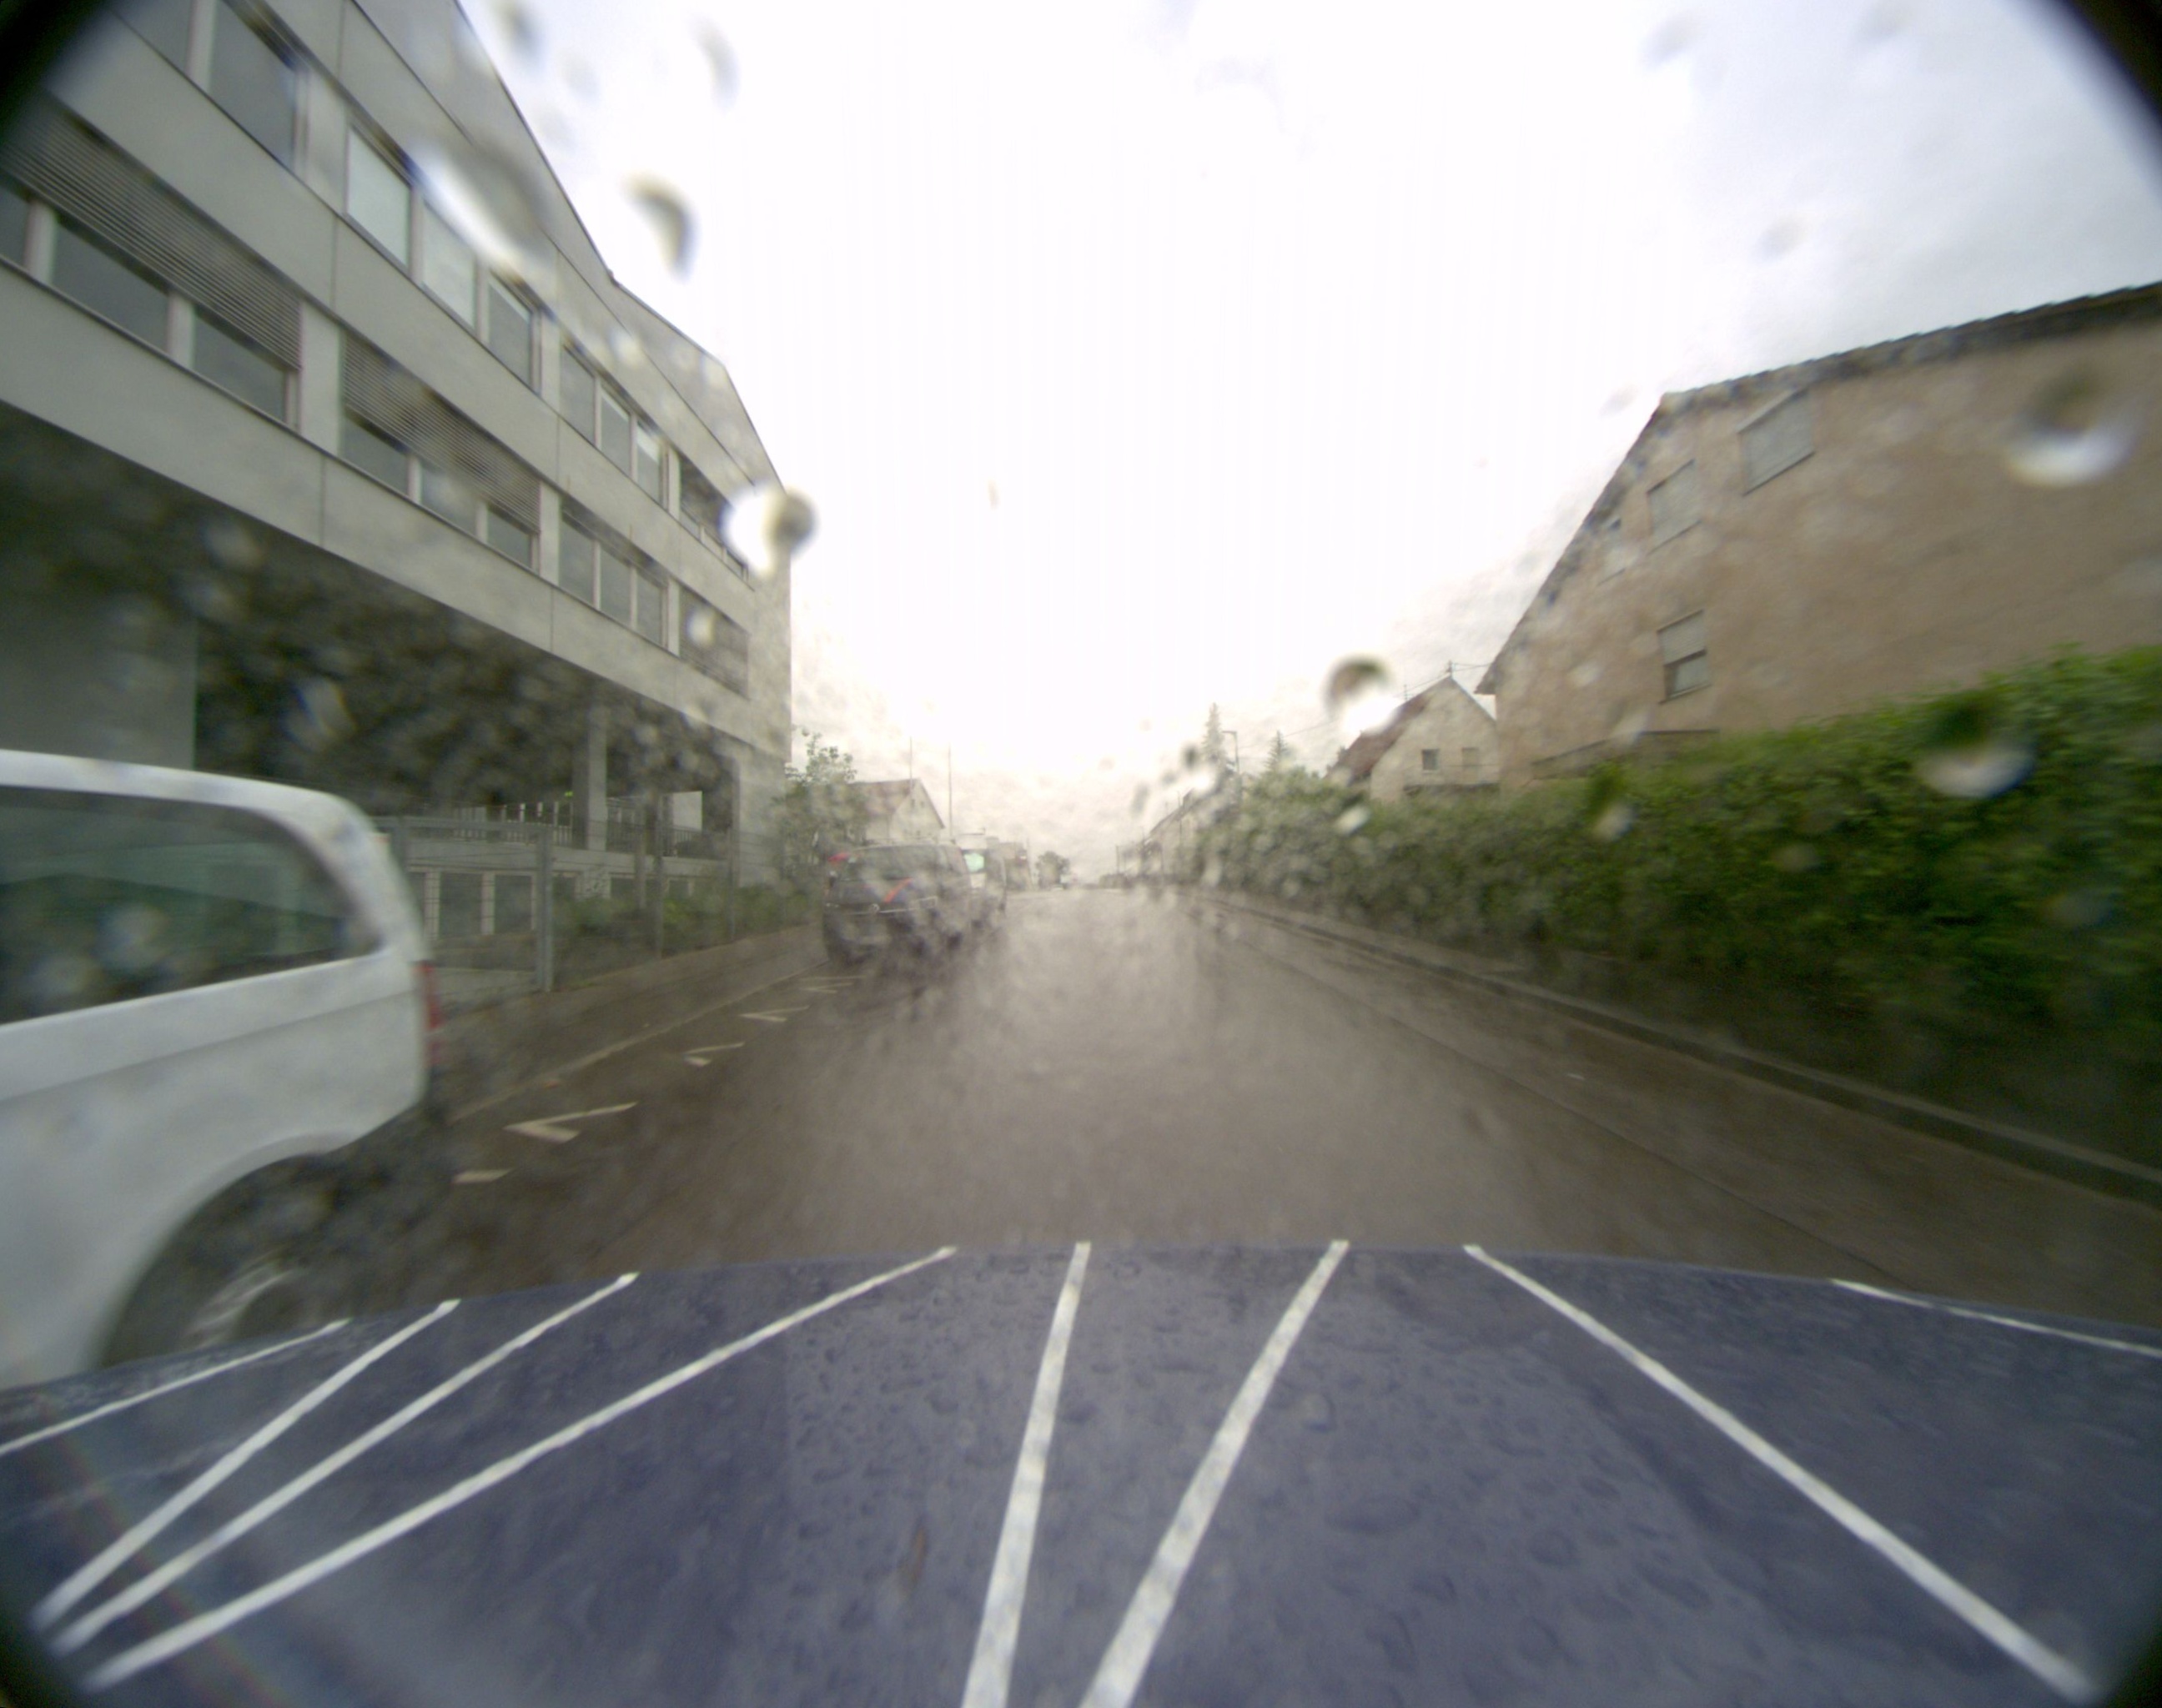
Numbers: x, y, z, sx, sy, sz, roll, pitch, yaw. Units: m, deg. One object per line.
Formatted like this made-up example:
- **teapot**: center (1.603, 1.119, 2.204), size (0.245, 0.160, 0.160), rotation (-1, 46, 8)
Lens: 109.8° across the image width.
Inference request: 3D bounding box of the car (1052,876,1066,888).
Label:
- **car**: center (-2.963, 3.766, 101.914), size (1.898, 1.537, 4.001), rotation (0, -2, -2)

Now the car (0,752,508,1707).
- **car**: center (-3.196, 0.773, 0.342), size (1.998, 1.923, 4.976), rotation (-1, 0, 1)

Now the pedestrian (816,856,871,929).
- **pedestrian**: center (-5.779, 0.930, 18.560), size (1.026, 1.748, 1.031), rotation (0, -1, -2)

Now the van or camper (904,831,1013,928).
- **van or camper**: center (-3.089, 0.614, 20.332), size (1.998, 2.229, 5.441), rotation (-1, -1, 0)

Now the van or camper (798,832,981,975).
- **van or camper**: center (-3.192, 0.771, 13.880), size (1.998, 2.101, 5.203), rotation (-1, -1, 0)
